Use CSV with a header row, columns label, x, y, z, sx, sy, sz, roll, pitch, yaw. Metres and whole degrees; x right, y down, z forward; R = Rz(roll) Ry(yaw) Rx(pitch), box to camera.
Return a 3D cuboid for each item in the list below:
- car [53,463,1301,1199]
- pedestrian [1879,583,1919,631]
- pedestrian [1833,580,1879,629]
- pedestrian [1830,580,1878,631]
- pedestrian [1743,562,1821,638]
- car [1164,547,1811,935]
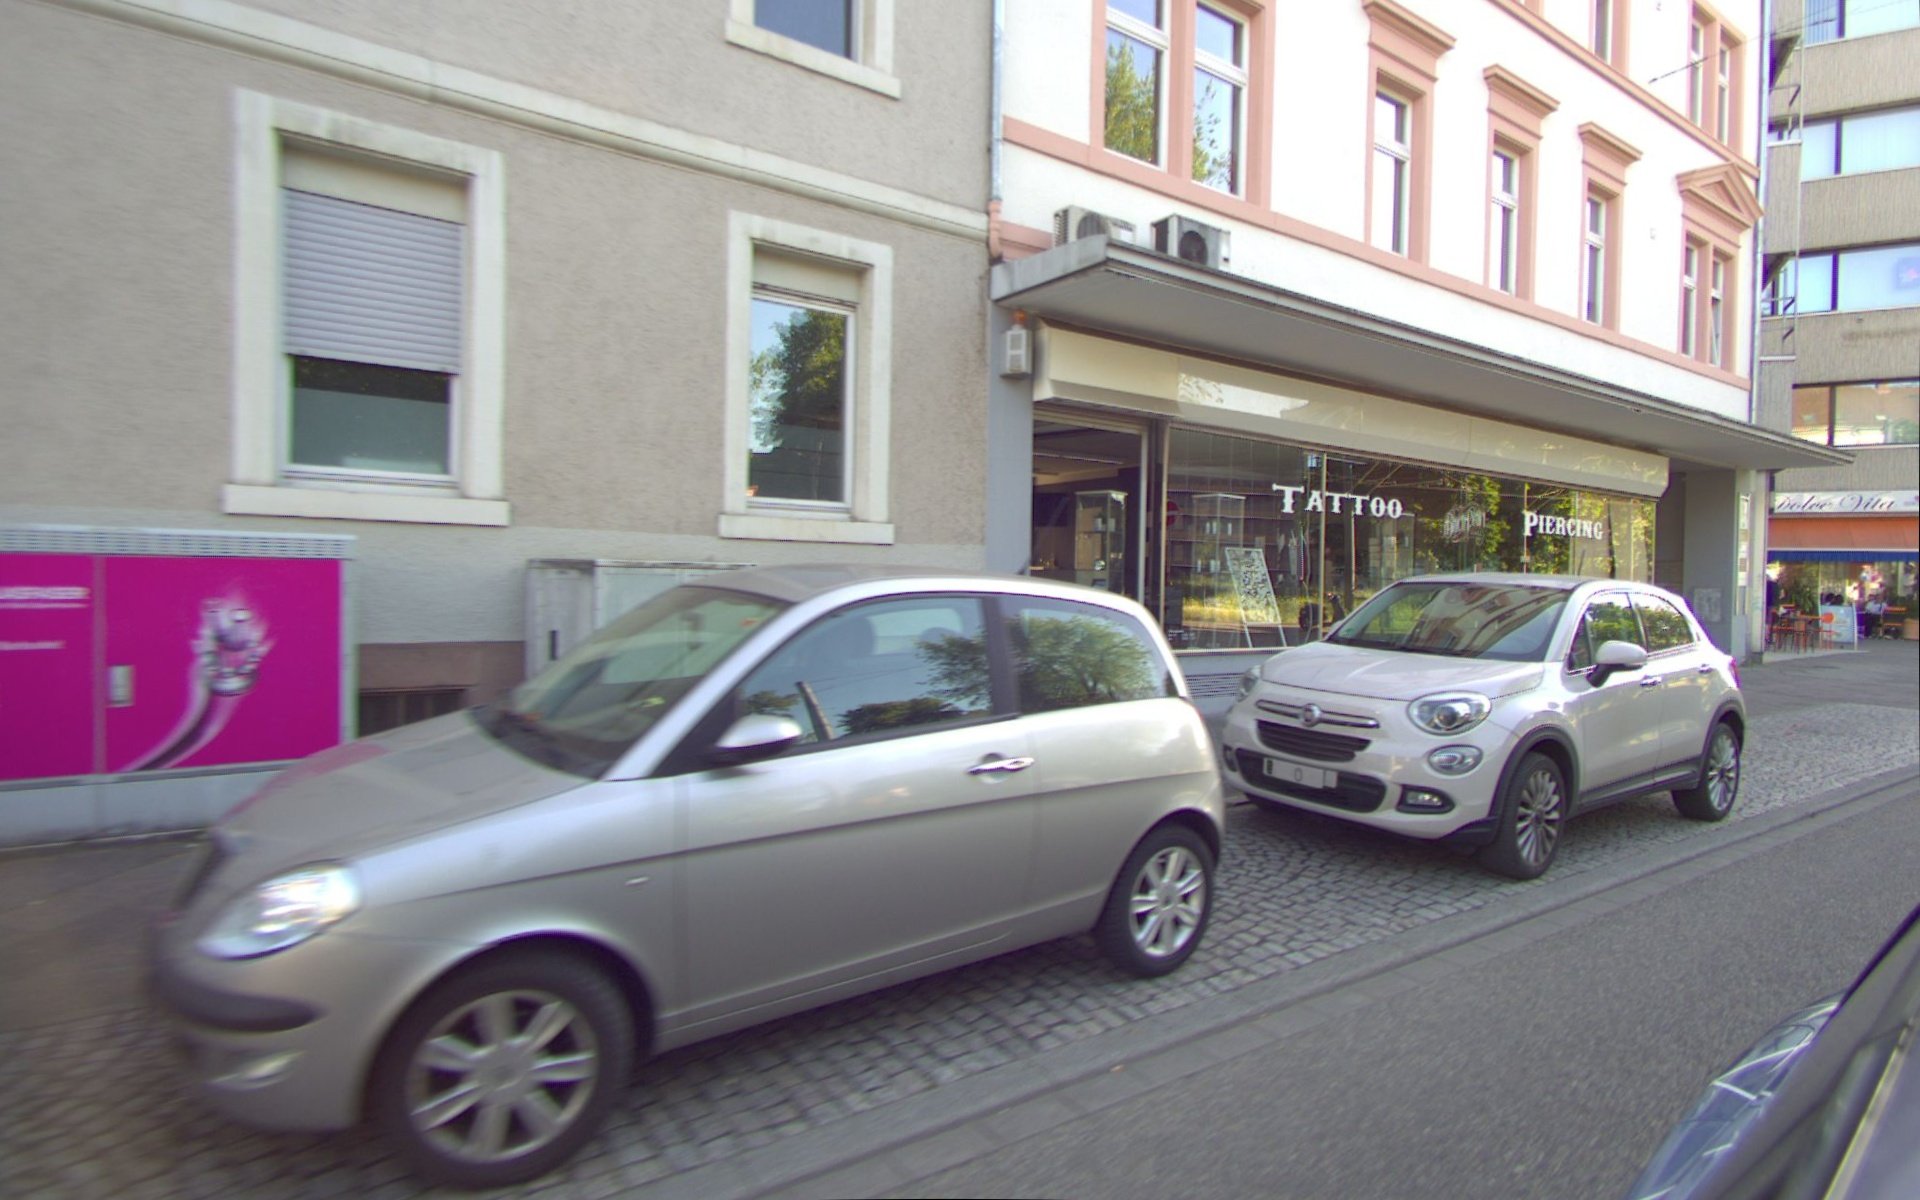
label,x,y,z,sx,sy,sz,roll,pitch,yaw
car,-0.655,0.498,3.670,3.685,1.624,1.705,-1,2,-34
pedestrian,26.944,0.181,28.981,0.841,1.308,0.818,4,4,44
pedestrian,26.186,0.124,29.577,0.837,1.420,0.822,1,0,31
pedestrian,25.555,0.158,28.939,0.835,1.420,0.746,0,-1,26
pedestrian,19.673,-0.017,24.235,1.112,1.764,1.024,-1,0,-21
car,3.714,0.591,6.707,4.866,1.760,1.751,-1,1,-35
